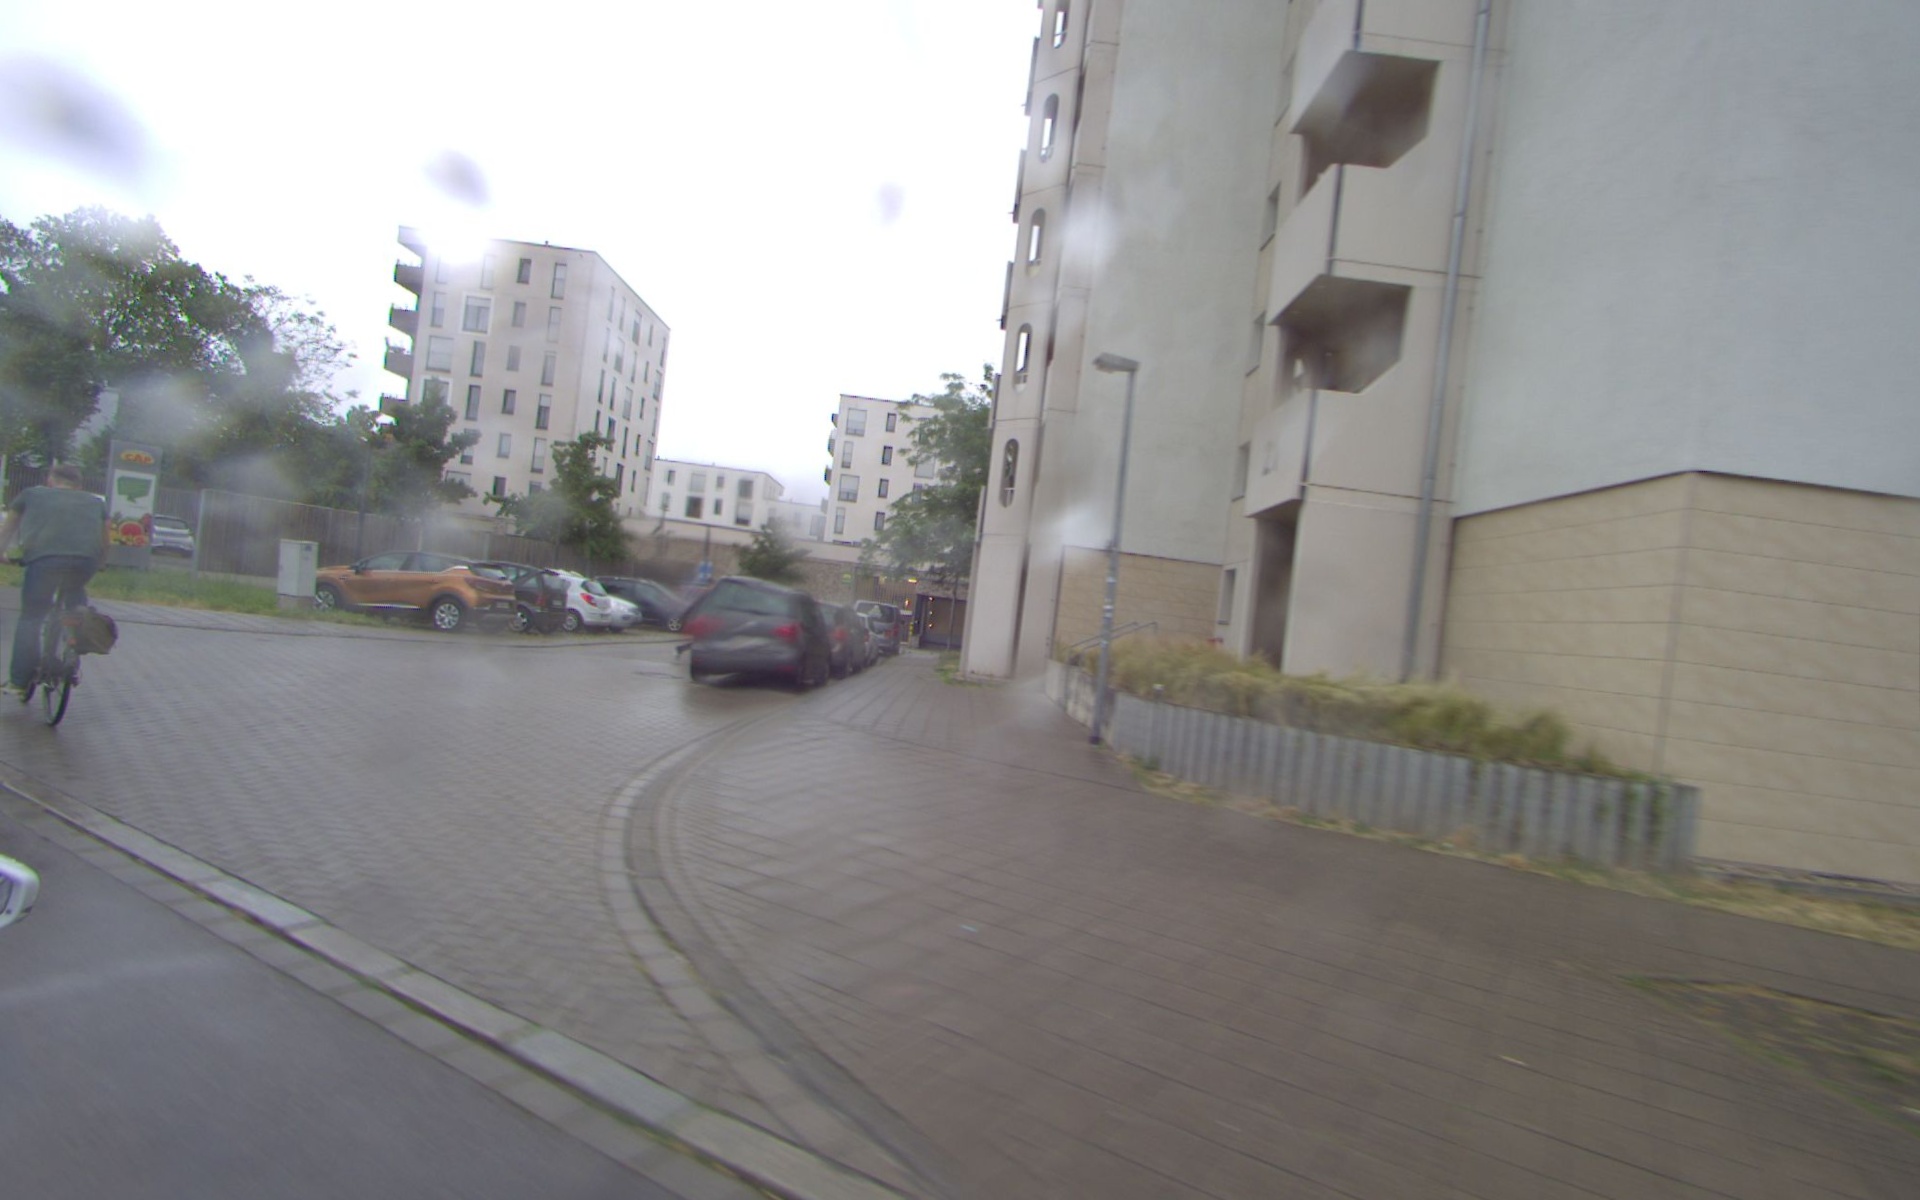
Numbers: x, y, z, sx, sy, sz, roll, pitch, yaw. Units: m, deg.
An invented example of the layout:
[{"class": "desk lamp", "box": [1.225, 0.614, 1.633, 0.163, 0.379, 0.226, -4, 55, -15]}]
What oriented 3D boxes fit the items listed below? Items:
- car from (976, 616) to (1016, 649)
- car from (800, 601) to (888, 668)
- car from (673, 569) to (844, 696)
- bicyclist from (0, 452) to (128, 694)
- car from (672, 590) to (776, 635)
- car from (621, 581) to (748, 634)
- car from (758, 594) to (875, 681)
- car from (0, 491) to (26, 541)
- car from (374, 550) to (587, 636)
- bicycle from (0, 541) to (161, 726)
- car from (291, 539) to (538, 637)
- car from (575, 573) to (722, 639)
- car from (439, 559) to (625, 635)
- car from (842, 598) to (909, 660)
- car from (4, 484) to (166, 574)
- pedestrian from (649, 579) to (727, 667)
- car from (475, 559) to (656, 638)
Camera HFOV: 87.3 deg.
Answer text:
[{"class": "car", "box": [2.083, 1.950, 59.679, 1.963, 1.703, 4.003, 7, -2, -1]}, {"class": "car", "box": [-3.181, 0.992, 28.290, 1.781, 1.491, 3.801, 8, -2, 1]}, {"class": "car", "box": [-3.234, 0.576, 16.997, 1.781, 1.635, 4.117, 8, -2, 1]}, {"class": "bicyclist", "box": [-6.403, -0.183, 6.989, 0.759, 1.577, 0.535, 6, -1, 25]}, {"class": "car", "box": [-10.337, 0.564, 44.295, 3.925, 1.457, 2.002, 7, -2, 2]}, {"class": "car", "box": [-10.870, 0.308, 39.879, 4.282, 1.448, 1.971, 8, -1, 3]}, {"class": "car", "box": [-3.124, 0.867, 22.669, 1.781, 1.550, 4.117, 8, -2, 1]}, {"class": "car", "box": [-33.243, -3.015, 33.626, 4.294, 1.553, 1.966, 7, -2, 35]}, {"class": "car", "box": [-11.235, -0.135, 23.776, 3.924, 1.457, 2.002, 7, -2, 4]}, {"class": "bicycle", "box": [-6.454, 0.180, 6.997, 1.914, 1.106, 0.538, 6, -2, 26]}, {"class": "car", "box": [-11.264, -0.211, 20.976, 3.924, 1.457, 2.002, 7, -2, 4]}, {"class": "car", "box": [-10.609, 0.234, 34.525, 4.285, 1.628, 1.970, 8, -1, -2]}, {"class": "car", "box": [-11.255, -0.041, 26.665, 3.924, 1.457, 2.002, 7, -2, 4]}, {"class": "car", "box": [-3.091, 1.115, 37.731, 1.959, 1.940, 4.281, 8, -2, -1]}, {"class": "car", "box": [-23.283, -1.915, 26.725, 4.819, 1.805, 1.966, 7, -1, 35]}, {"class": "pedestrian", "box": [-5.222, 0.450, 19.381, 1.074, 1.535, 0.839, 6, -1, 2]}, {"class": "car", "box": [-11.321, -0.018, 29.117, 4.285, 1.605, 1.970, 8, -1, -2]}]
